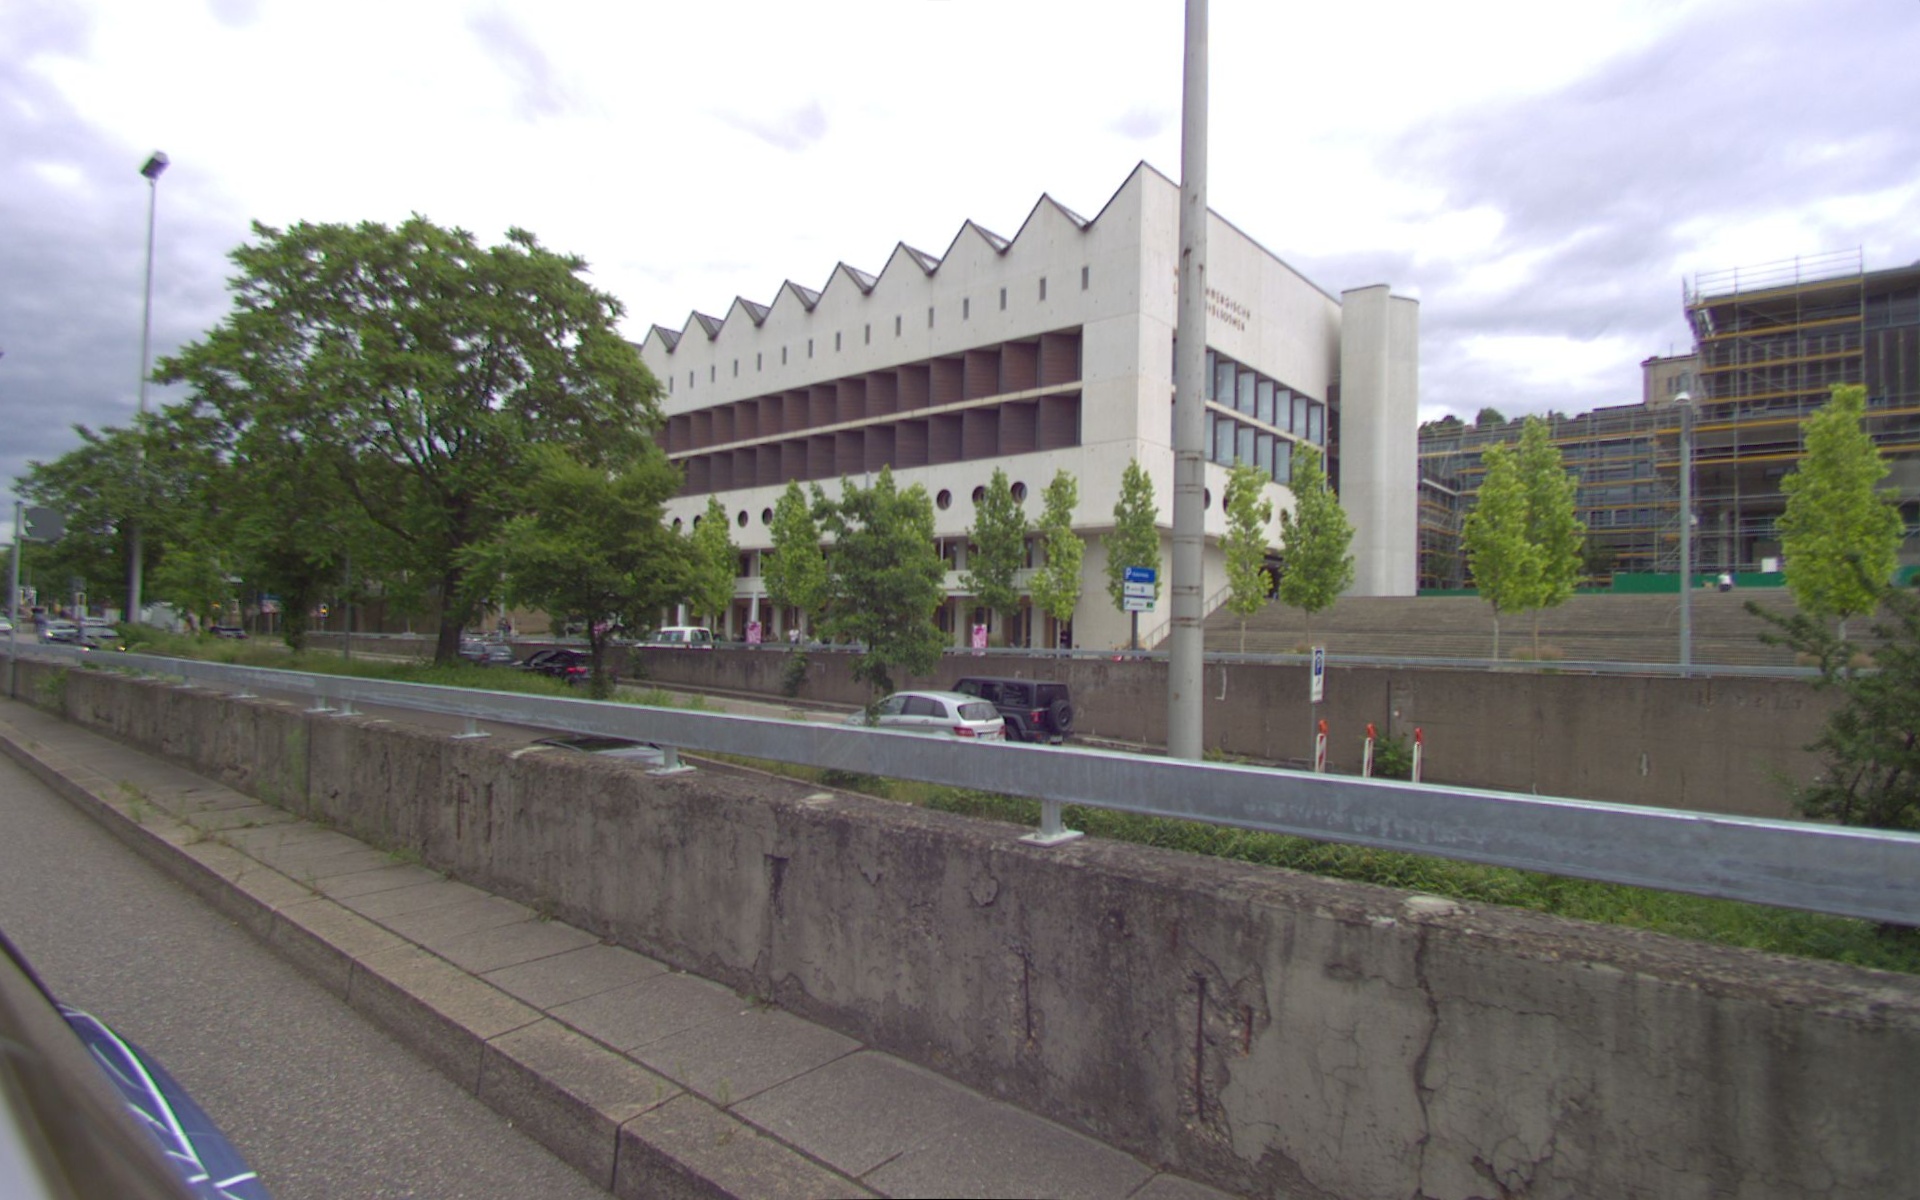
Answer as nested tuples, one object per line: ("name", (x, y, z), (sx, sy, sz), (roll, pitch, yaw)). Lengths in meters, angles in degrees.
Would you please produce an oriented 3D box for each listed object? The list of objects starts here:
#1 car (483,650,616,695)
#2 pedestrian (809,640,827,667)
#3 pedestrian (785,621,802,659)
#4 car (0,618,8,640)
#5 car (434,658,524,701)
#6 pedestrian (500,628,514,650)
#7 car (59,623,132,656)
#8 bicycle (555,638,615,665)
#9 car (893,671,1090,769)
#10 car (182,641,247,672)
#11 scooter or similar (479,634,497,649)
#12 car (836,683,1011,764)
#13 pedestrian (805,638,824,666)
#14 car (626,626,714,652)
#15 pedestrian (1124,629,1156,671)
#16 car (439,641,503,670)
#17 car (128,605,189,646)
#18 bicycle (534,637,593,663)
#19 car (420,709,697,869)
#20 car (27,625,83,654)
("car", (-13.498, 2.320, 33.134), (4.845, 1.151, 1.974), (0, 0, 40))
("pedestrian", (-8.581, 3.213, 61.052), (0.899, 1.535, 0.634), (4, -8, 0))
("pedestrian", (-8.876, 2.127, 53.974), (0.630, 2.029, 0.626), (-1, 0, 42))
("car", (-77.902, 2.328, 81.077), (4.442, 1.730, 1.838), (-1, -4, 40))
("car", (-21.037, 3.410, 44.175), (4.577, 1.550, 1.859), (0, 0, 40))
("pedestrian", (-33.495, 2.888, 74.874), (0.590, 1.569, 0.883), (1, -2, -1))
("car", (-42.019, 1.904, 49.145), (4.806, 1.494, 1.973), (-1, -3, 41))
("bicycle", (-24.818, 3.420, 67.025), (1.182, 1.697, 3.576), (-2, -4, 40))
("car", (0.712, 2.897, 25.391), (4.900, 1.911, 1.799), (0, 0, 40))
("car", (-41.331, 3.086, 56.099), (3.994, 1.498, 1.883), (0, 0, 38))
("scooter or similar", (-43.776, 3.832, 93.904), (0.537, 1.351, 1.399), (-1, -3, 41))
("car", (-0.863, 2.691, 22.624), (3.819, 1.282, 1.680), (1, 1, 41))
("pedestrian", (-8.564, 3.069, 59.597), (0.899, 1.535, 0.634), (3, -8, 0))
("car", (-14.213, 1.892, 49.525), (4.805, 1.127, 1.791), (0, 0, 41))
("pedestrian", (7.218, 1.992, 40.598), (1.004, 1.653, 0.727), (-2, -3, 41))
("car", (-30.487, 3.429, 63.039), (4.386, 1.730, 1.839), (-1, -3, 39))
("car", (-54.246, 1.650, 68.446), (6.057, 2.543, 2.300), (1, 1, 42))
("bicycle", (-26.717, 3.404, 68.306), (1.182, 1.697, 3.576), (-2, -4, 40))
("car", (-5.673, 2.477, 14.102), (4.147, 1.527, 1.746), (0, -1, 38))
("car", (-53.240, 2.320, 59.501), (3.998, 1.658, 1.973), (-2, -2, 41))
